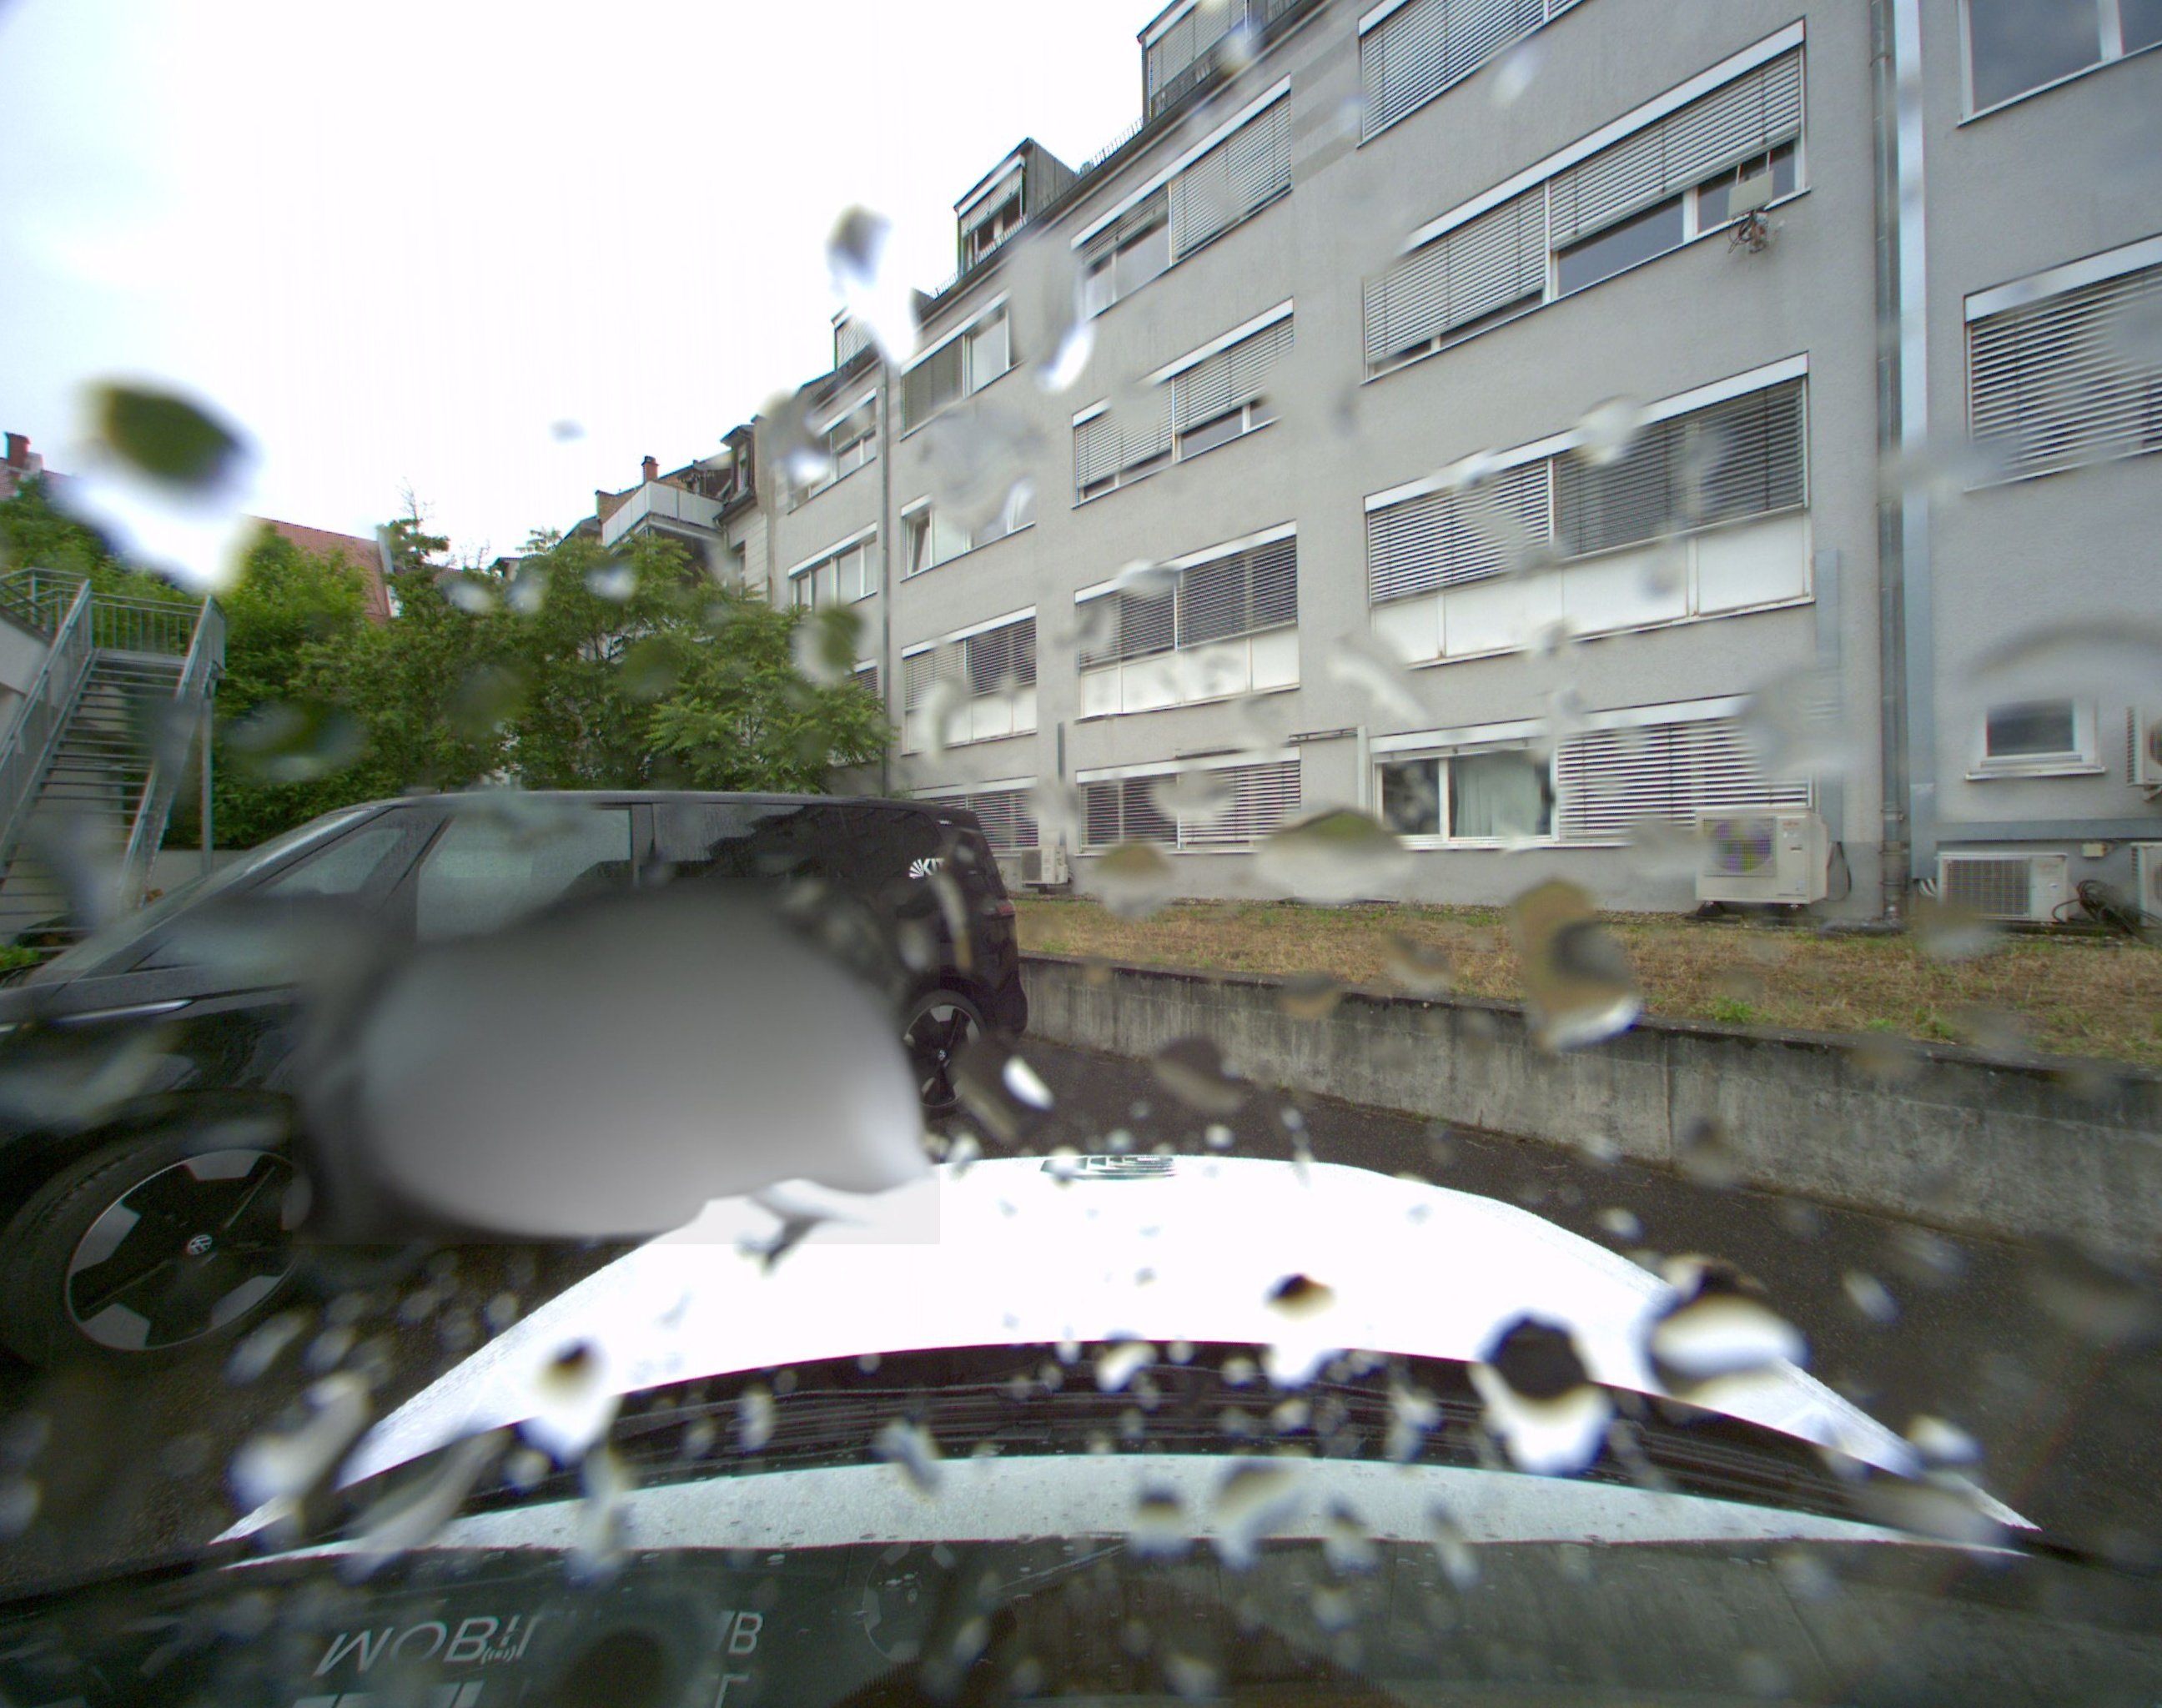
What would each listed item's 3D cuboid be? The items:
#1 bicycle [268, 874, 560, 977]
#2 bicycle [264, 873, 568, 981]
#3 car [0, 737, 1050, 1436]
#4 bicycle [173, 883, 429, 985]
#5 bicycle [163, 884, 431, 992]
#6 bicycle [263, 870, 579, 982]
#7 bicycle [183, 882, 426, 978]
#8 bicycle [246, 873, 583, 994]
[{"bbox_3d":[-9.627,0.967,11.962,3.242,1.242,0.623,-1,-1,-43],"label":"bicycle"},{"bbox_3d":[-9.196,0.941,11.477,3.242,1.242,0.623,-1,-1,-43],"label":"bicycle"},{"bbox_3d":[-2.493,0.632,4.249,2.020,1.897,4.550,-2,-1,42],"label":"car"},{"bbox_3d":[-10.046,0.978,10.637,2.348,1.105,0.625,-1,0,-41],"label":"bicycle"},{"bbox_3d":[-9.616,0.977,10.147,2.348,1.105,0.625,-1,0,-41],"label":"bicycle"},{"bbox_3d":[-8.725,0.882,10.999,3.242,1.242,0.623,-1,-1,-43],"label":"bicycle"},{"bbox_3d":[-10.465,0.978,11.118,2.348,1.105,0.625,-1,0,-41],"label":"bicycle"},{"bbox_3d":[-8.303,0.919,10.395,3.242,1.242,0.623,-1,-1,-43],"label":"bicycle"}]
